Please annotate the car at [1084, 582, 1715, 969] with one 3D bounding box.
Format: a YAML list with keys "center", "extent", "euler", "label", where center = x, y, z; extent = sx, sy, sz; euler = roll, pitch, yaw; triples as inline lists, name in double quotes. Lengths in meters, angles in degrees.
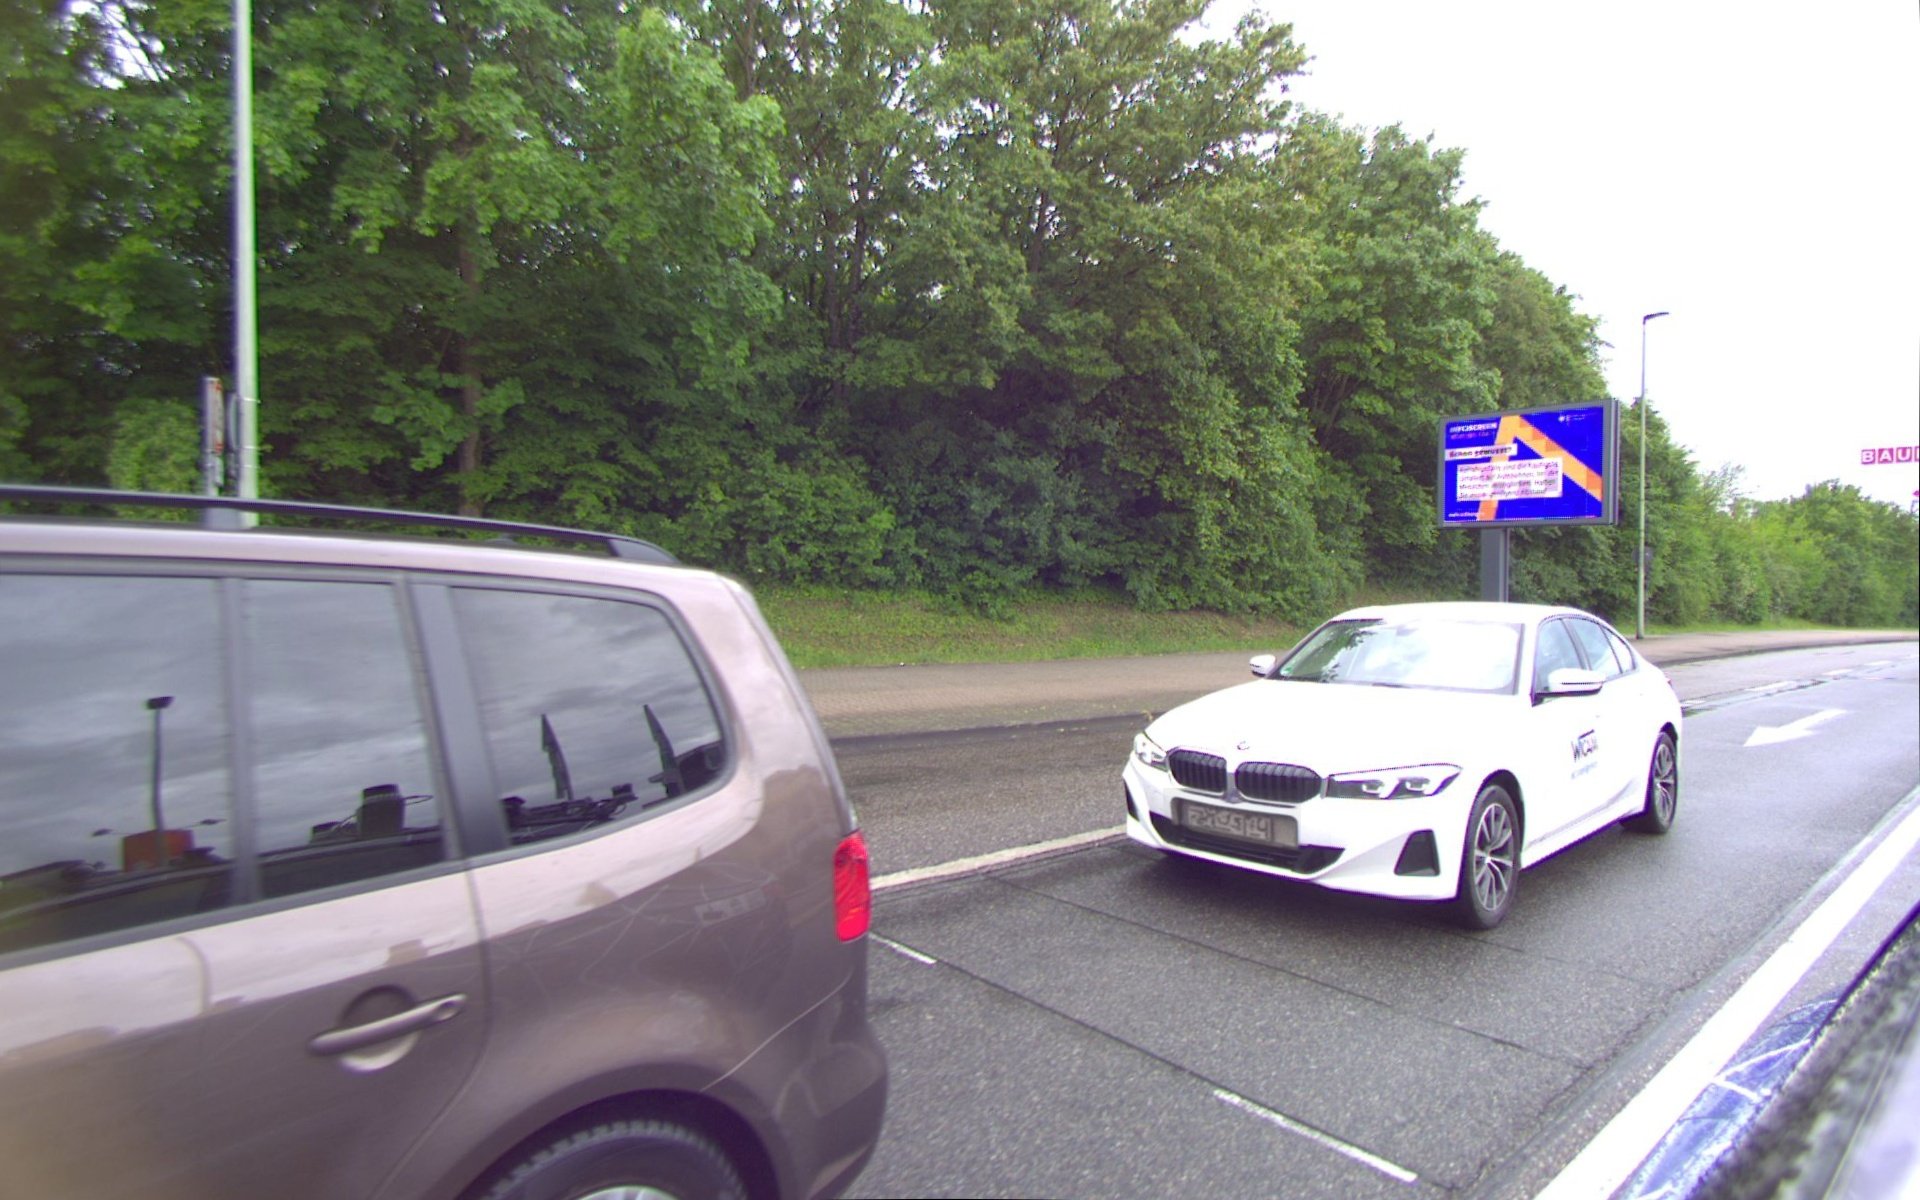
- center: [2.930, 0.642, 6.114]
  extent: [4.600, 1.475, 1.782]
  euler: [-1, 1, -42]
  label: "car"

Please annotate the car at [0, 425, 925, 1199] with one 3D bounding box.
- center: [-2.114, 0.628, 1.344]
  extent: [3.911, 1.629, 1.750]
  euler: [-1, 1, -41]
  label: "car"
